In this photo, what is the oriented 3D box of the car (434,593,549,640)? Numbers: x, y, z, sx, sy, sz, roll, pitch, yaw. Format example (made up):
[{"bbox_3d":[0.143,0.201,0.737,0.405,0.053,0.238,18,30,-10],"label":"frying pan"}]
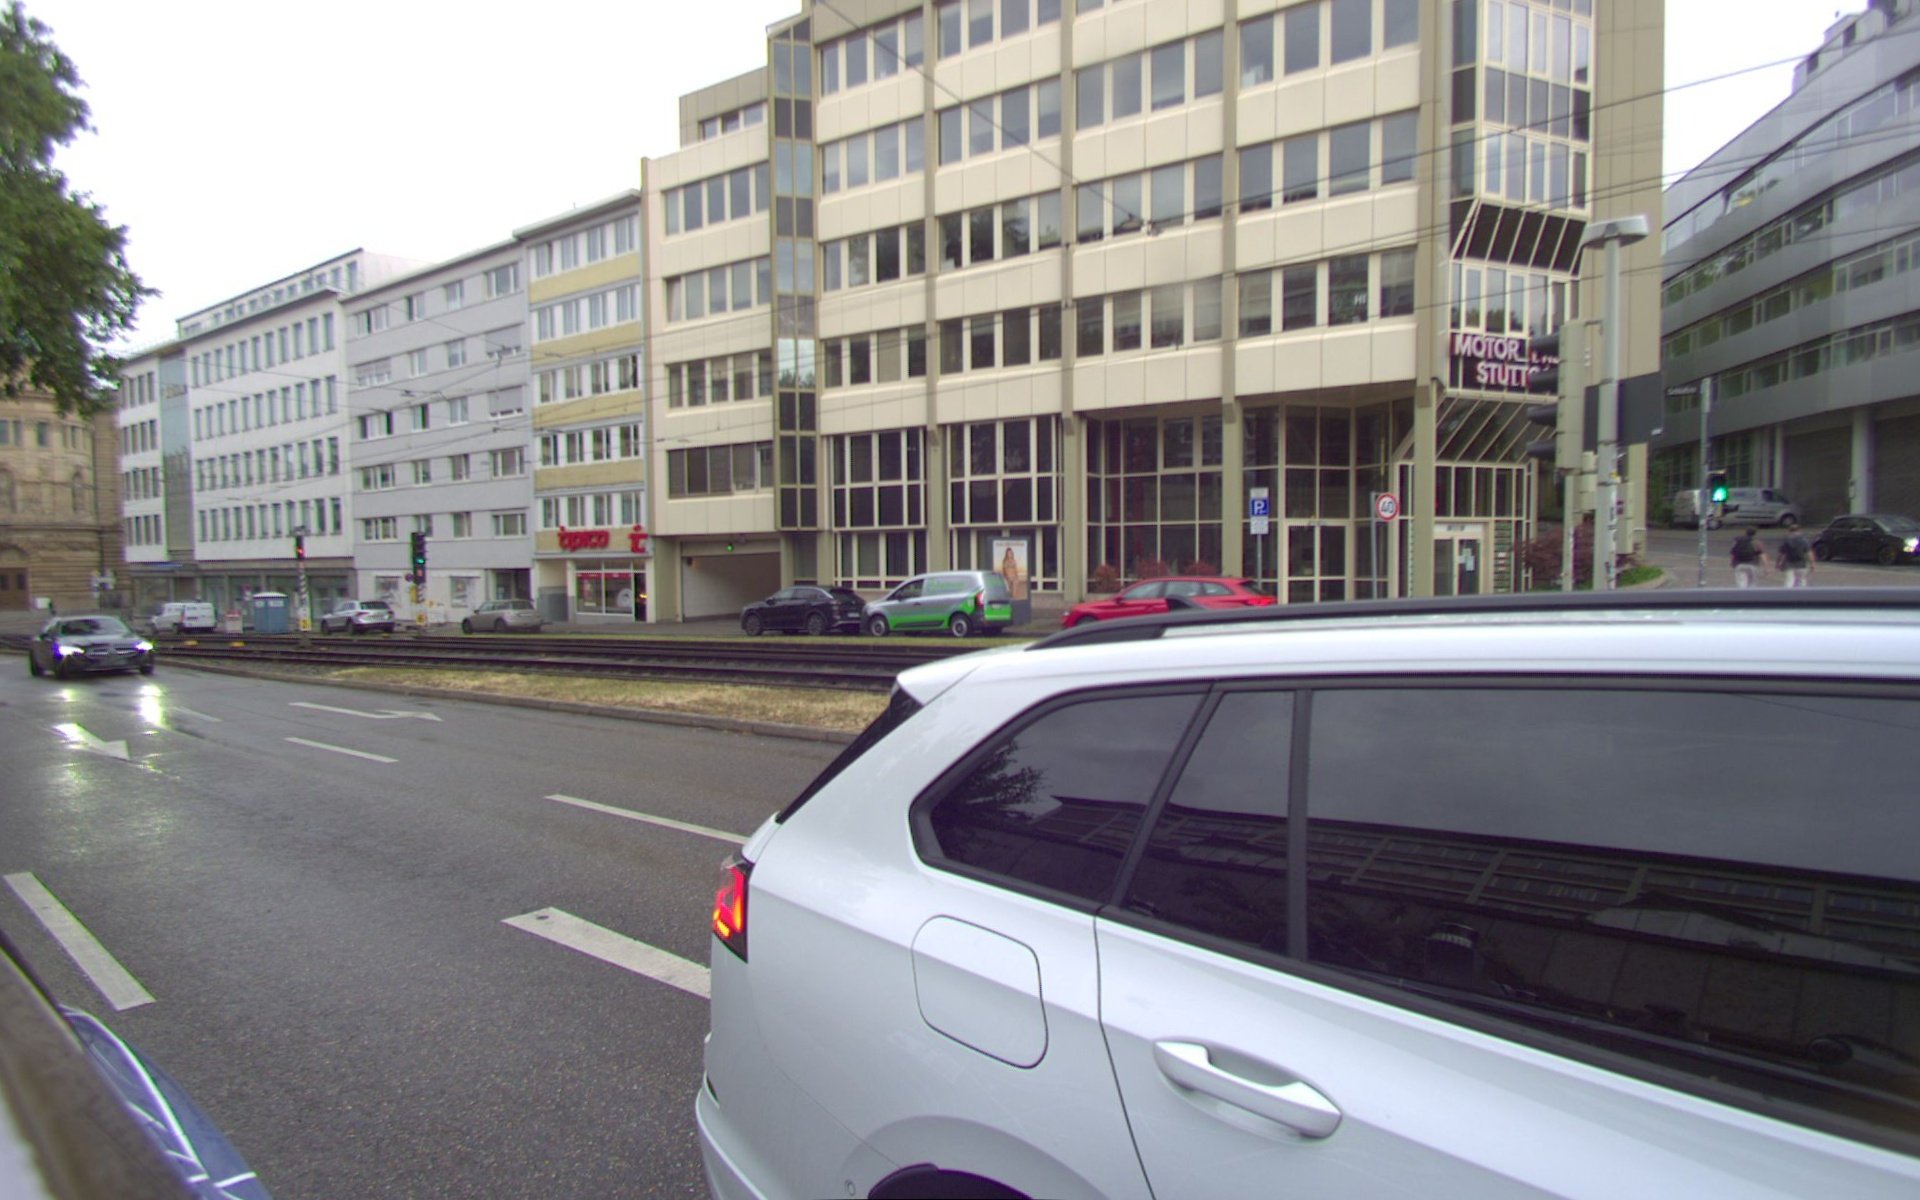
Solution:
[{"bbox_3d":[-18.931,0.607,40.850,4.682,1.686,1.978,0,4,34],"label":"car"}]

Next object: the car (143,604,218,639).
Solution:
[{"bbox_3d":[-46.821,1.255,60.765,5.117,1.856,1.978,0,4,34],"label":"car"}]

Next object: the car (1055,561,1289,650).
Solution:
[{"bbox_3d":[4.415,0.087,21.159,4.399,1.652,1.967,0,2,30],"label":"car"}]

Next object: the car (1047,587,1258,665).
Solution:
[{"bbox_3d":[4.544,0.561,24.082,4.536,1.593,1.978,0,4,34],"label":"car"}]

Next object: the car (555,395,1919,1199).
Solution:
[{"bbox_3d":[1.338,0.622,1.286,4.251,1.588,1.662,-1,1,41],"label":"car"}]

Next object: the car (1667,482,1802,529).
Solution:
[{"bbox_3d":[37.342,-4.532,48.919,4.779,2.028,1.996,-2,3,8],"label":"car"}]

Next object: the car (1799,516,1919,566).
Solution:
[{"bbox_3d":[27.700,-1.789,30.235,1.803,1.374,4.004,-2,3,-3],"label":"car"}]

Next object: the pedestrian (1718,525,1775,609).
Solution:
[{"bbox_3d":[17.320,-0.723,22.308,0.804,1.800,0.637,-1,3,18],"label":"pedestrian"}]

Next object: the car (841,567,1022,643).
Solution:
[{"bbox_3d":[-0.834,0.098,28.017,4.682,1.863,1.978,0,4,34],"label":"car"}]

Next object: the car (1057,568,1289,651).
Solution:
[{"bbox_3d":[4.405,0.150,21.088,4.315,1.498,1.978,0,4,33],"label":"car"}]

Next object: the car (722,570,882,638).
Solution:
[{"bbox_3d":[-4.864,0.094,30.932,4.682,1.863,1.978,0,4,34],"label":"car"}]

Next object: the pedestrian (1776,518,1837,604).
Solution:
[{"bbox_3d":[18.325,-0.850,21.918,0.804,1.800,0.637,-1,3,18],"label":"pedestrian"}]

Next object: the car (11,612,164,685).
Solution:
[{"bbox_3d":[-21.113,1.115,24.431,4.638,1.478,1.974,-2,2,39],"label":"car"}]

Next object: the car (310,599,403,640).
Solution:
[{"bbox_3d":[-28.344,0.938,47.451,4.686,1.686,1.976,-2,3,36],"label":"car"}]
